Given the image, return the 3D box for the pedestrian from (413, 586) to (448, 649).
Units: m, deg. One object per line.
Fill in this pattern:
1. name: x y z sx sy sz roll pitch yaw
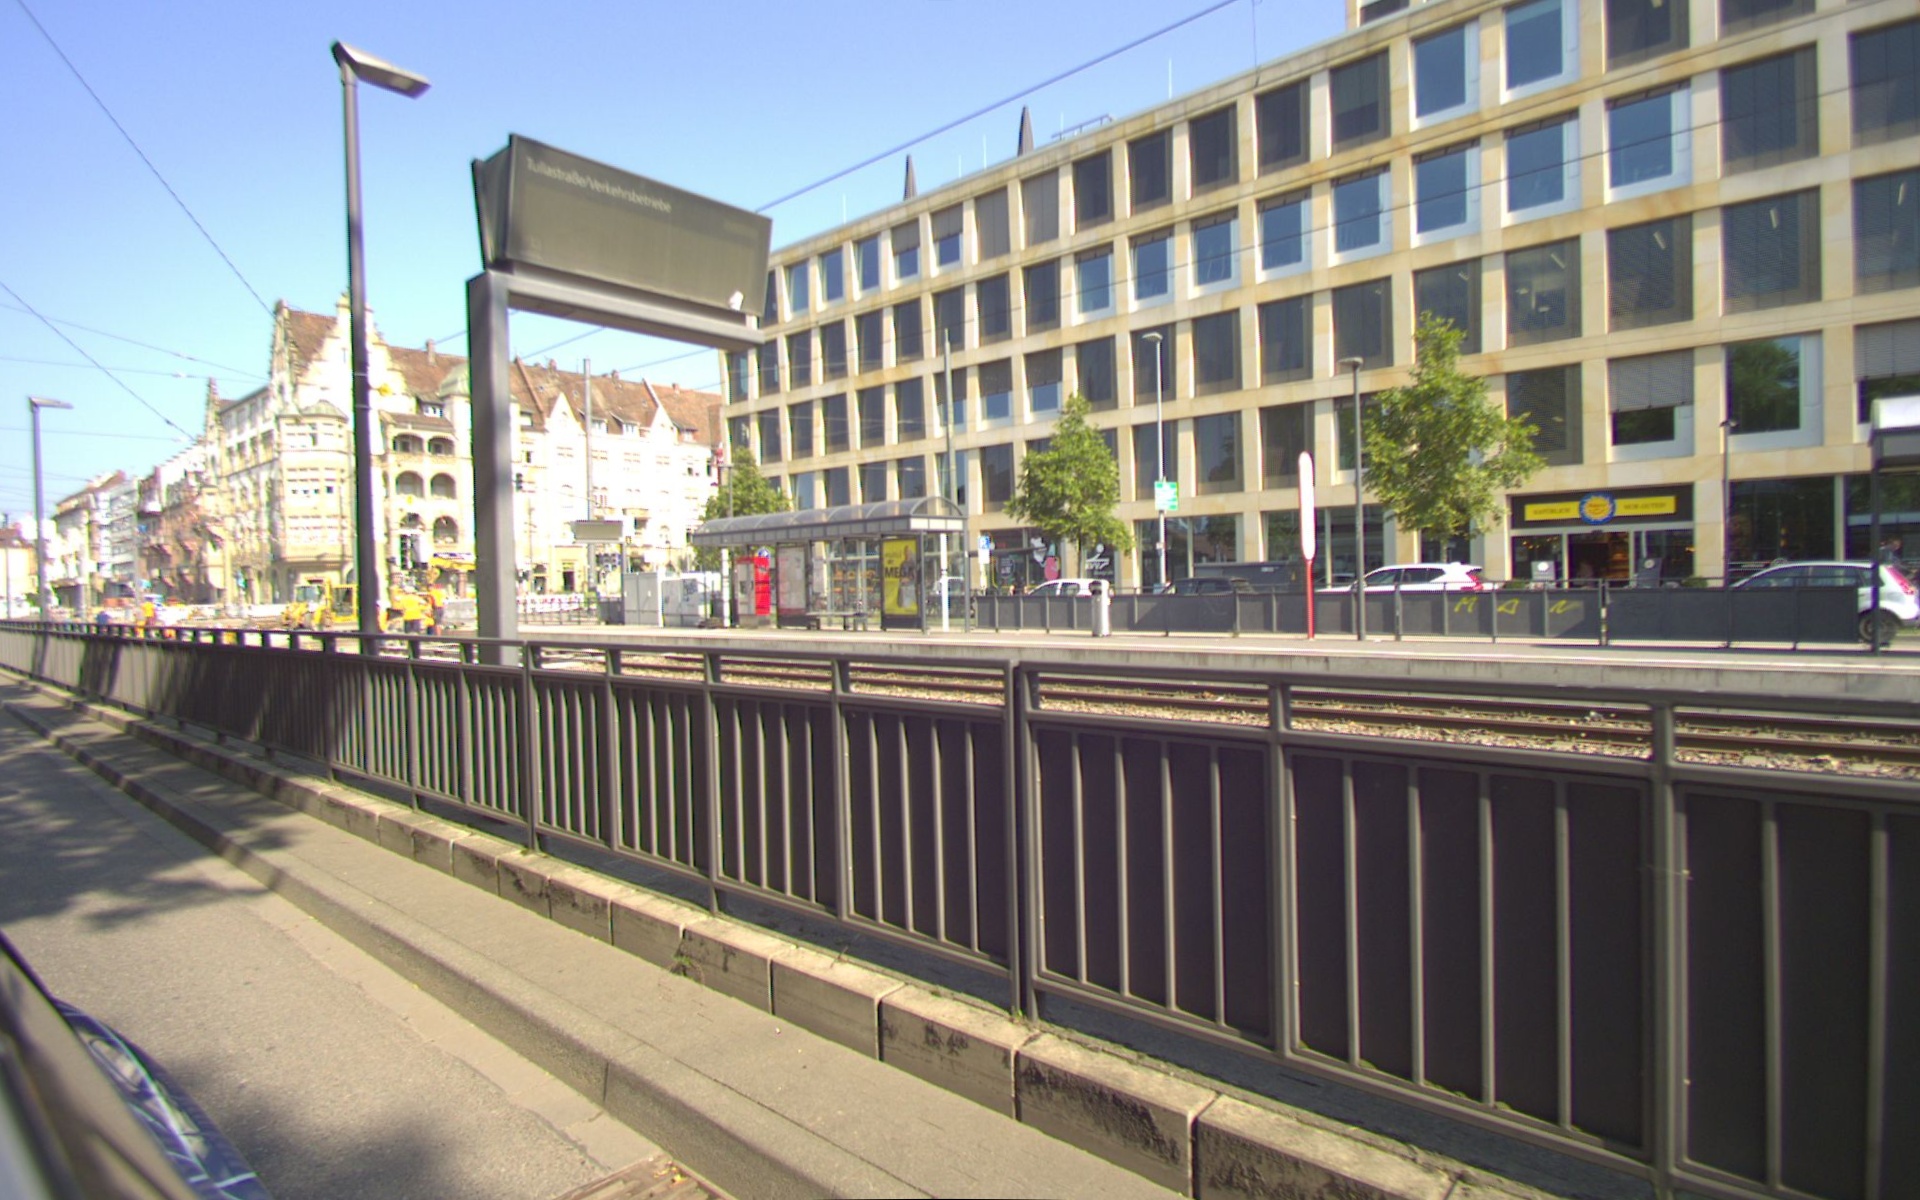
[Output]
1. pedestrian: -15.607 0.514 29.840 0.634 1.829 0.624 -2 0 9

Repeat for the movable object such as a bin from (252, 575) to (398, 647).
1. movable object such as a bin: -30.225 0.420 48.001 8.474 2.979 3.576 1 3 42

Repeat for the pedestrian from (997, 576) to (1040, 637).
1. pedestrian: 1.671 0.184 28.956 0.826 1.689 0.881 -2 0 -40

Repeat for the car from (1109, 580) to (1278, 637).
1. car: 6.203 0.225 27.098 3.998 1.414 1.882 -1 0 41

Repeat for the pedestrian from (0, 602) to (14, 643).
1. pedestrian: -37.595 0.875 39.609 0.691 1.578 0.752 -2 0 41

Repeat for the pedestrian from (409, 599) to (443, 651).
1. pedestrian: -16.292 0.764 30.906 0.620 1.566 0.638 -2 0 15

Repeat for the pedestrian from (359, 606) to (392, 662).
1. pedestrian: -17.955 1.025 31.102 0.657 1.675 0.774 -2 0 -15

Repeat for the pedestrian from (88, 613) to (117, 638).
1. pedestrian: -33.435 0.990 39.472 0.809 0.933 0.513 -2 0 -37

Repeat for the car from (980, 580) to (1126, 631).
1. car: 2.746 0.168 30.357 3.998 1.414 1.882 -1 0 41

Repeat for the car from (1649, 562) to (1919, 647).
1. car: 15.319 0.080 18.806 3.998 1.418 1.771 -1 0 41

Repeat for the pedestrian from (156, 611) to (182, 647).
1. pedestrian: -35.622 1.304 45.580 0.553 1.578 0.697 -2 0 24

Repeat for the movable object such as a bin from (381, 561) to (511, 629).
1. movable object such as a bin: -35.204 -0.438 69.368 7.260 4.379 4.982 -2 2 -35

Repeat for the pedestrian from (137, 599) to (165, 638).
1. pedestrian: -33.534 0.760 41.951 0.804 1.578 0.558 -2 0 -30

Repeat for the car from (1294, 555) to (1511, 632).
1. car: 10.266 -0.127 23.627 4.315 1.638 1.772 -1 0 39

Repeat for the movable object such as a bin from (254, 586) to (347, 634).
1. movable object such as a bin: -40.975 0.579 63.077 2.418 2.855 4.811 -1 1 4

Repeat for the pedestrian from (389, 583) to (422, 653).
1. pedestrian: -15.846 0.507 28.902 0.713 1.965 0.790 -2 0 -34

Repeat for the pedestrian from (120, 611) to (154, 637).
1. pedestrian: -33.094 0.955 40.686 0.920 0.996 0.513 -2 0 -8

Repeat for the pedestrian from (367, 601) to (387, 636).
1. pedestrian: -30.187 0.940 52.381 0.820 1.762 0.670 -2 0 -31
